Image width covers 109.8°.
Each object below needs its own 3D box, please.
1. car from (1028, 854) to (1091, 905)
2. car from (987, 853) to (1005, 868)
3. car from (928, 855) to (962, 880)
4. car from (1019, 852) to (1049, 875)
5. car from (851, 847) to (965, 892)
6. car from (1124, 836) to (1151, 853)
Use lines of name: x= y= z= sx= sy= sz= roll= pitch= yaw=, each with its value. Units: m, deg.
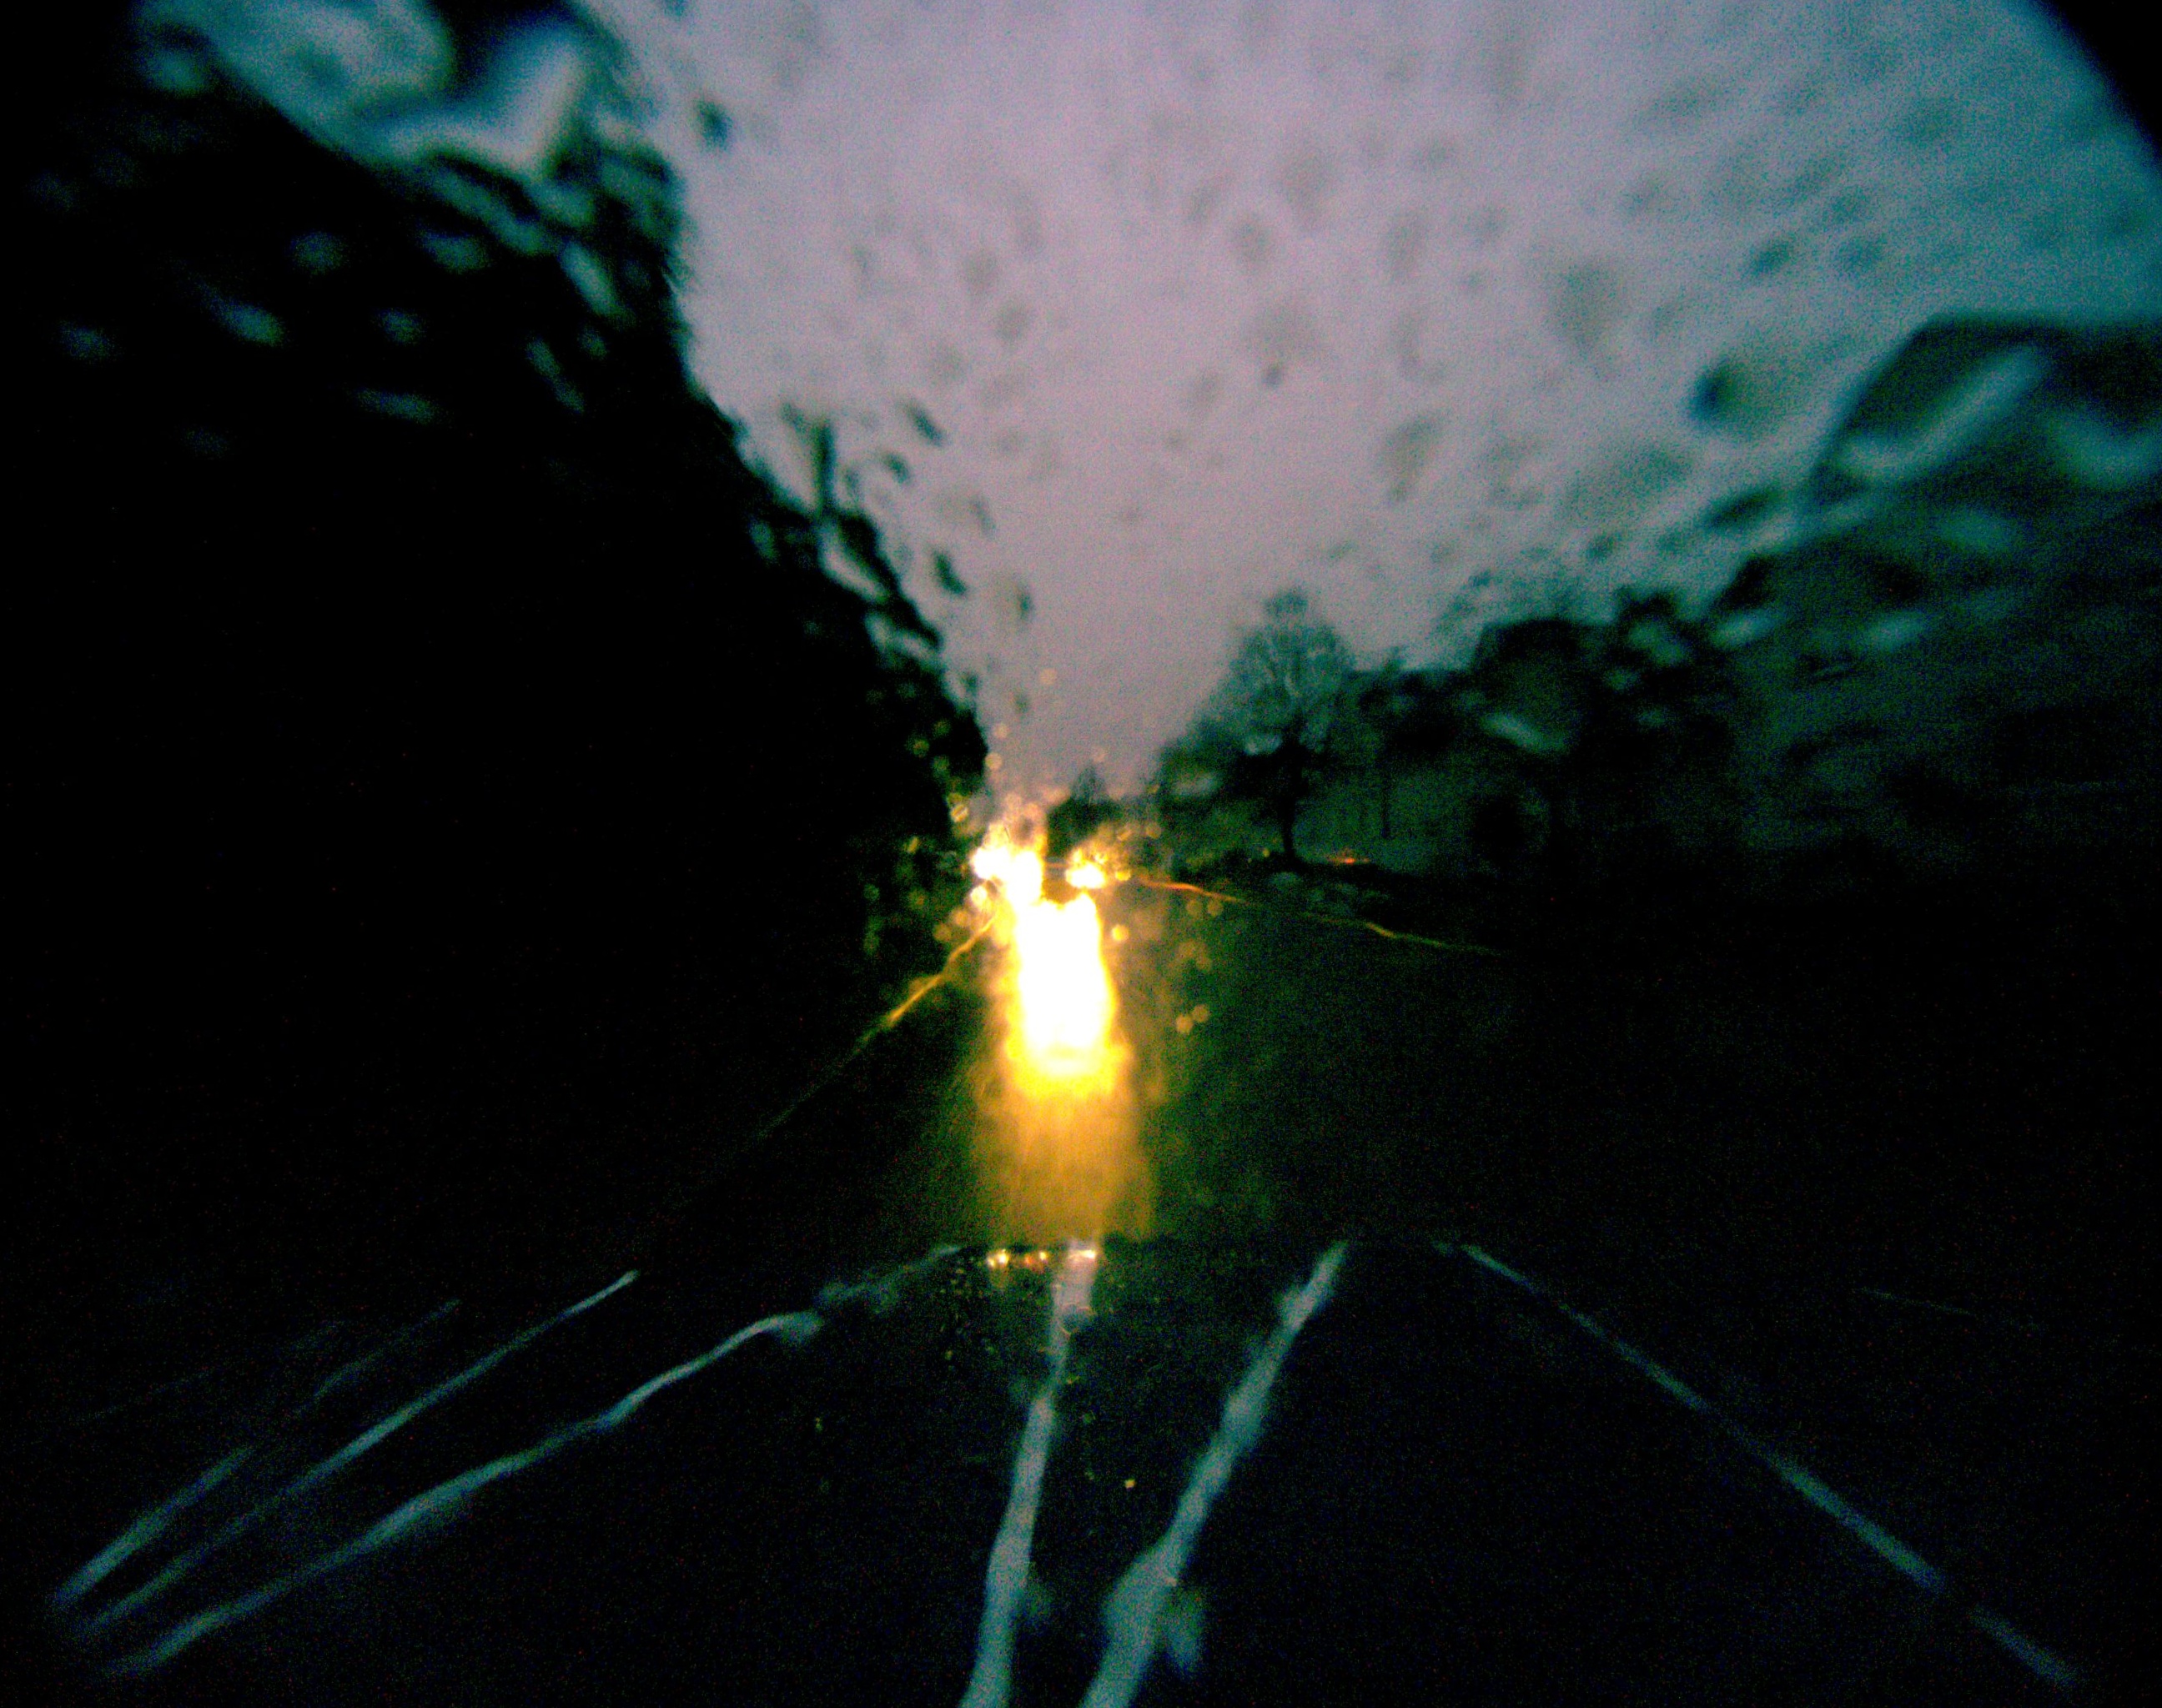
car: x=-0.739 y=0.816 z=26.246 sx=1.999 sy=1.575 sz=3.999 roll=-1 pitch=0 yaw=-2
car: x=-10.035 y=0.766 z=89.711 sx=1.777 sy=1.609 sz=3.868 roll=-2 pitch=1 yaw=-10
car: x=-9.232 y=0.870 z=51.893 sx=1.899 sy=1.545 sz=4.752 roll=-1 pitch=1 yaw=-6
car: x=-3.727 y=0.739 z=59.894 sx=2.000 sy=1.660 sz=3.997 roll=-2 pitch=1 yaw=-8
car: x=-6.918 y=0.603 z=30.782 sx=4.337 sy=1.722 sz=1.998 roll=1 pitch=1 yaw=-8
car: x=5.960 y=-0.996 z=80.664 sx=2.000 sy=1.746 sz=4.564 roll=-1 pitch=1 yaw=-8
